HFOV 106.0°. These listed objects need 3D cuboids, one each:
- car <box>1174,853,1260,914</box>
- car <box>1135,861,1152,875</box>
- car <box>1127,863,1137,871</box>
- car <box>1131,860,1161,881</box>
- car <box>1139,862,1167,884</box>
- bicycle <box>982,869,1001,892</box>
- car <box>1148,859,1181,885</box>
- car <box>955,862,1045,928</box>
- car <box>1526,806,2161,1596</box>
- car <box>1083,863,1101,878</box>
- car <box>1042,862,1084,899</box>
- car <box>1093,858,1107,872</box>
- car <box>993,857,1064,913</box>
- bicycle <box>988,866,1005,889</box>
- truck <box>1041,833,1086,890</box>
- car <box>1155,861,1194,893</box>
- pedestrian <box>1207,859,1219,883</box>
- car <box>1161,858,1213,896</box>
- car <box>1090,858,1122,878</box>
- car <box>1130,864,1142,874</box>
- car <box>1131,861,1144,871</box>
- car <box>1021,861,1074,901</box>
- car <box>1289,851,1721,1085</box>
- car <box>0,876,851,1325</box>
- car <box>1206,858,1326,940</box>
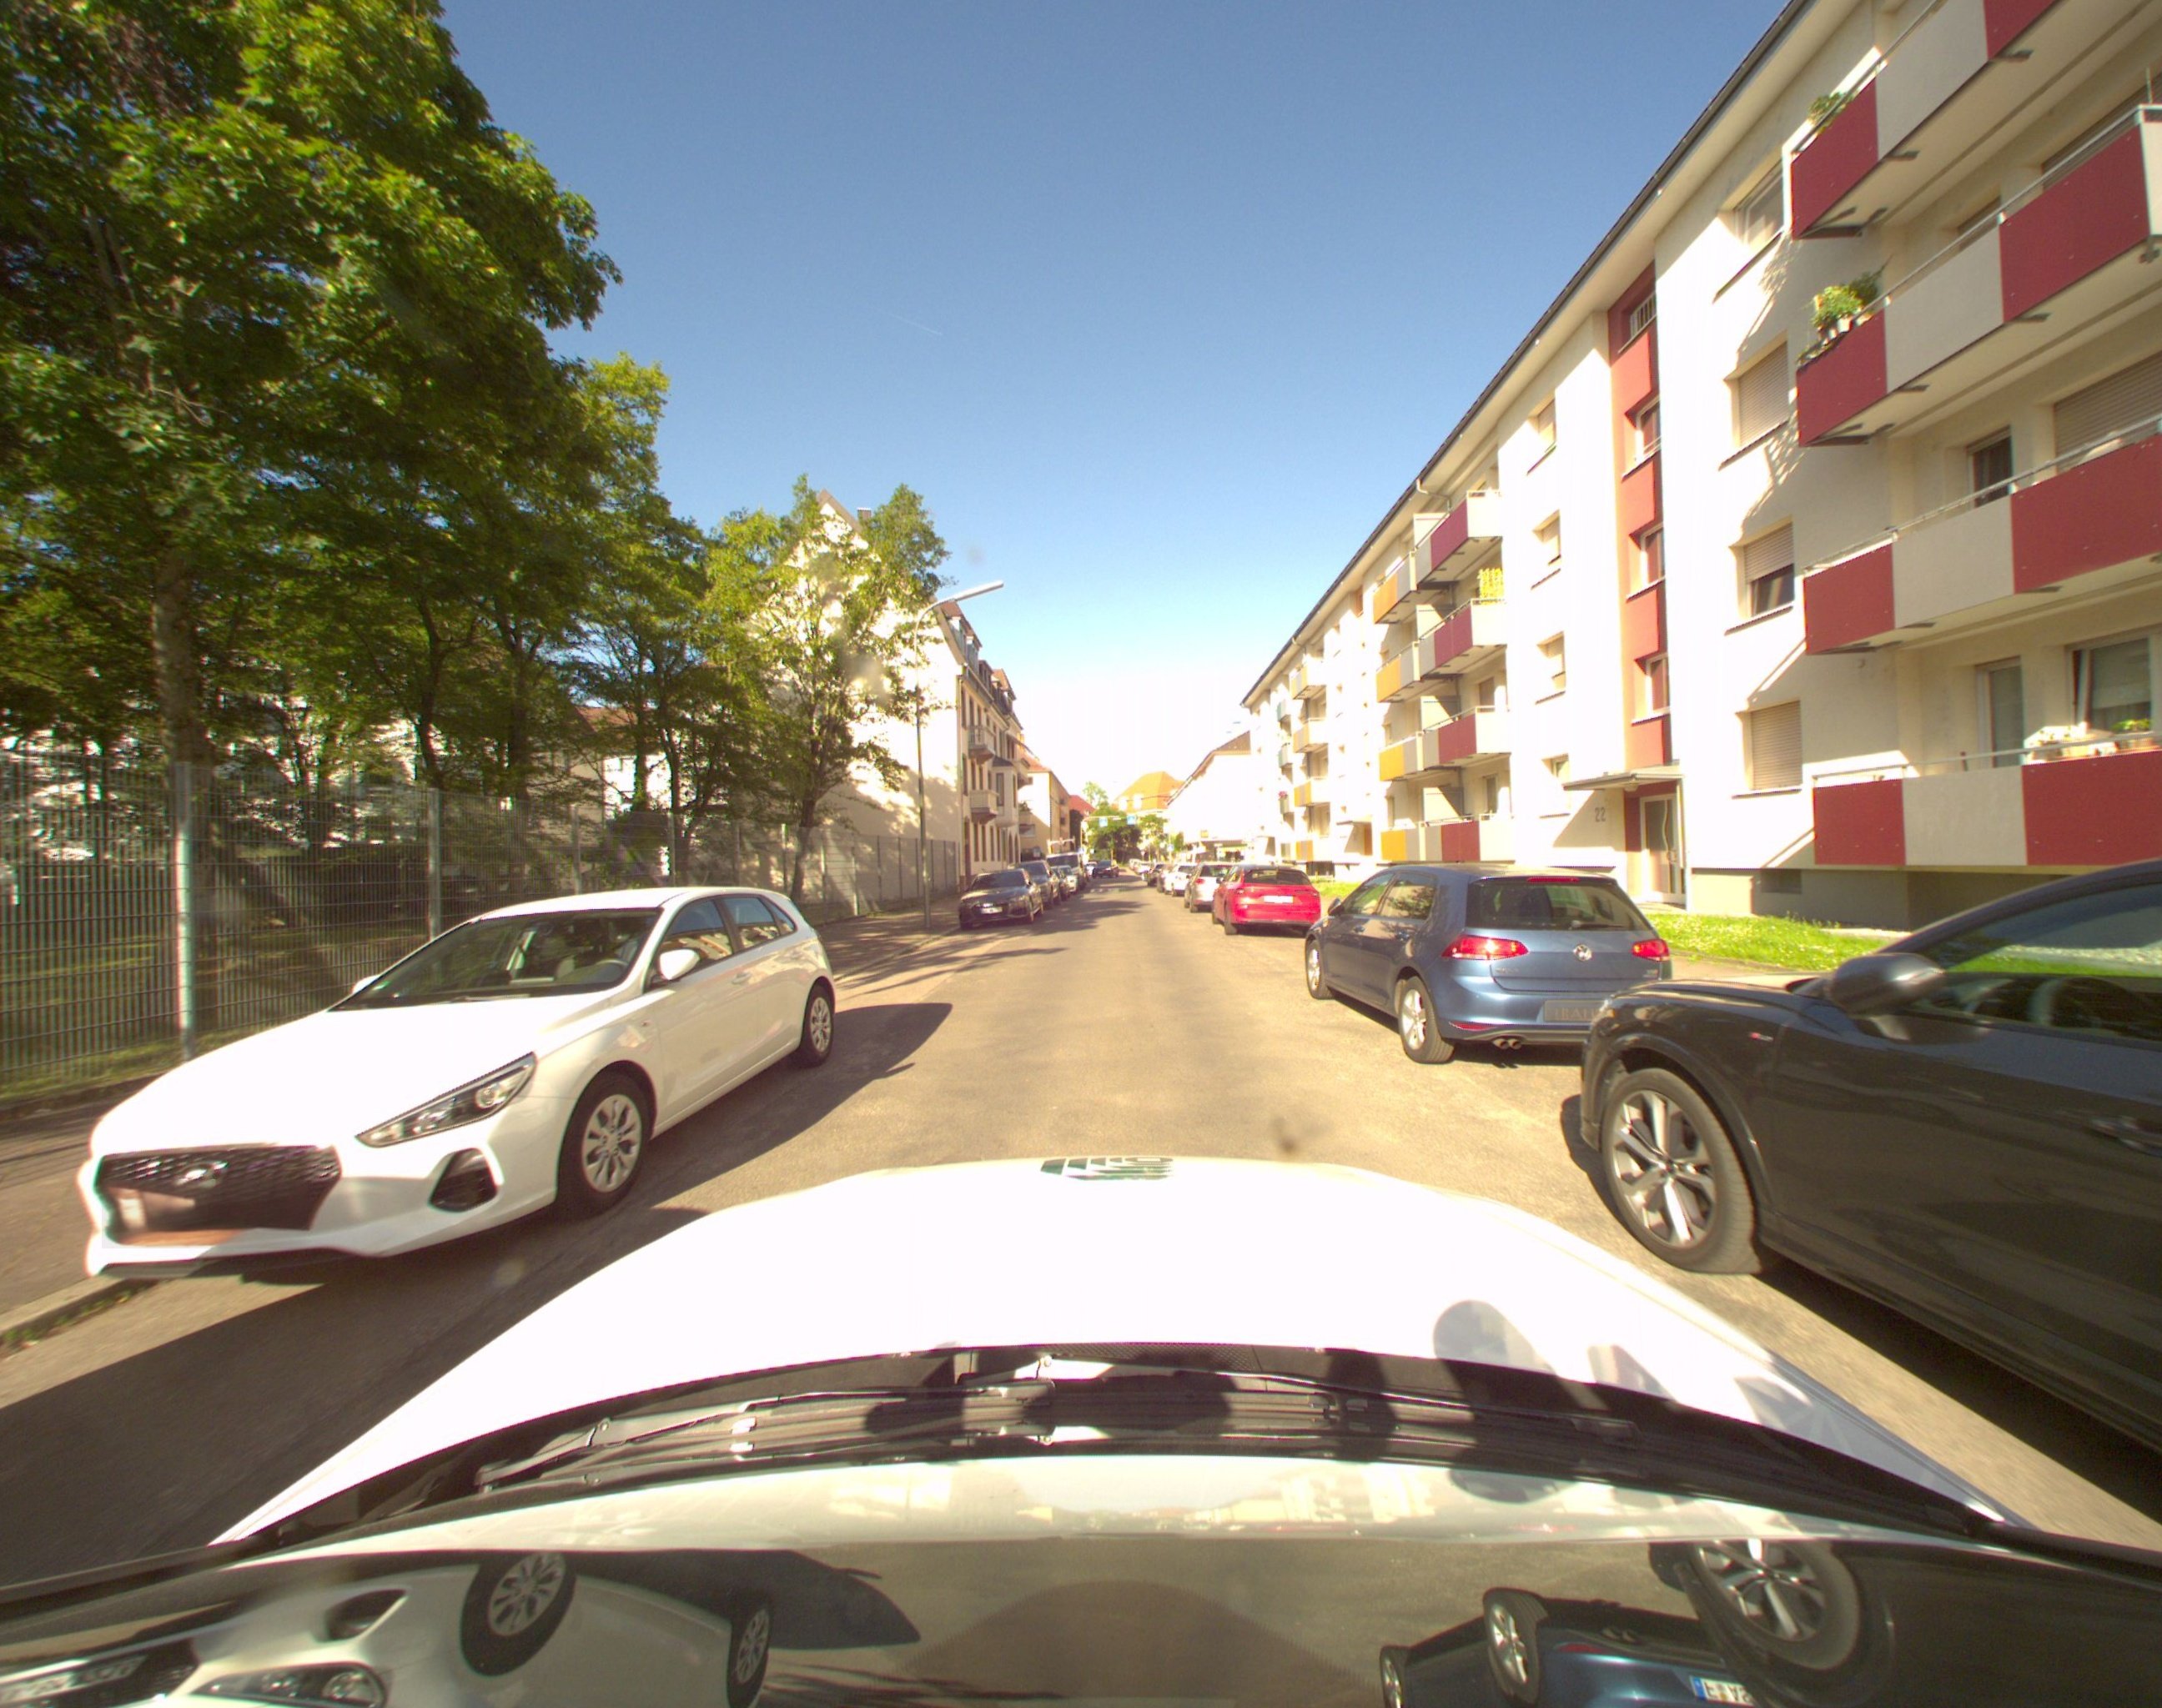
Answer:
[{"bbox_3d":[3.915,0.828,24.212,1.892,1.622,4.603,1,-1,1],"label":"car"},{"bbox_3d":[6.817,1.481,88.694,1.837,1.441,3.423,-1,-1,4],"label":"car"},{"bbox_3d":[9.664,2.477,154.682,1.631,1.441,3.420,-1,-1,2],"label":"car"},{"bbox_3d":[4.865,1.278,61.764,1.848,1.523,4.775,-1,-2,0],"label":"car"},{"bbox_3d":[4.944,1.331,56.303,1.639,1.460,3.940,-1,-2,2],"label":"car"},{"bbox_3d":[-4.904,1.450,44.715,0.627,1.204,2.342,-1,0,3],"label":"bicycle"},{"bbox_3d":[5.096,1.086,49.926,1.784,1.471,4.342,-2,-1,3],"label":"car"},{"bbox_3d":[-2.044,1.026,21.808,1.788,1.471,4.502,-4,-1,1],"label":"car"},{"bbox_3d":[3.001,0.678,1.762,1.746,1.559,4.254,-1,-1,0],"label":"car"},{"bbox_3d":[1.290,1.865,93.192,1.784,1.480,4.102,-3,0,3],"label":"car"},{"bbox_3d":[-0.835,1.269,40.692,1.786,1.541,4.641,-7,0,0],"label":"car"},{"bbox_3d":[2.482,1.446,105.753,1.690,1.779,4.101,-1,-1,3],"label":"car"},{"bbox_3d":[-1.714,1.019,28.095,1.872,1.664,4.933,-4,-1,2],"label":"car"},{"bbox_3d":[-4.926,1.372,47.644,0.567,1.279,2.342,-1,0,3],"label":"bicycle"},{"bbox_3d":[-0.902,0.486,47.756,2.251,2.986,7.276,-2,-1,1],"label":"truck"},{"bbox_3d":[4.566,1.114,40.163,1.681,1.467,3.585,1,0,3],"label":"car"},{"bbox_3d":[7.873,1.014,48.524,0.572,1.433,0.472,-3,0,4],"label":"pedestrian"},{"bbox_3d":[4.580,0.998,35.734,1.680,1.463,3.818,4,-1,0],"label":"car"},{"bbox_3d":[2.247,1.232,72.932,1.807,1.634,4.275,-2,-1,16],"label":"car"},{"bbox_3d":[8.480,2.337,126.123,1.631,1.441,3.420,-1,-1,2],"label":"car"},{"bbox_3d":[8.302,1.737,120.069,1.631,1.441,3.420,-2,-1,2],"label":"car"},{"bbox_3d":[-1.323,1.106,34.324,1.784,1.563,4.463,-1,-1,3],"label":"car"},{"bbox_3d":[3.255,0.768,7.296,1.746,1.481,4.079,-1,-1,0],"label":"car"},{"bbox_3d":[-2.987,0.932,4.949,1.787,1.445,4.121,-3,-1,2],"label":"car"},{"bbox_3d":[3.679,0.857,16.971,1.744,1.444,4.527,-1,-1,4],"label":"car"}]
